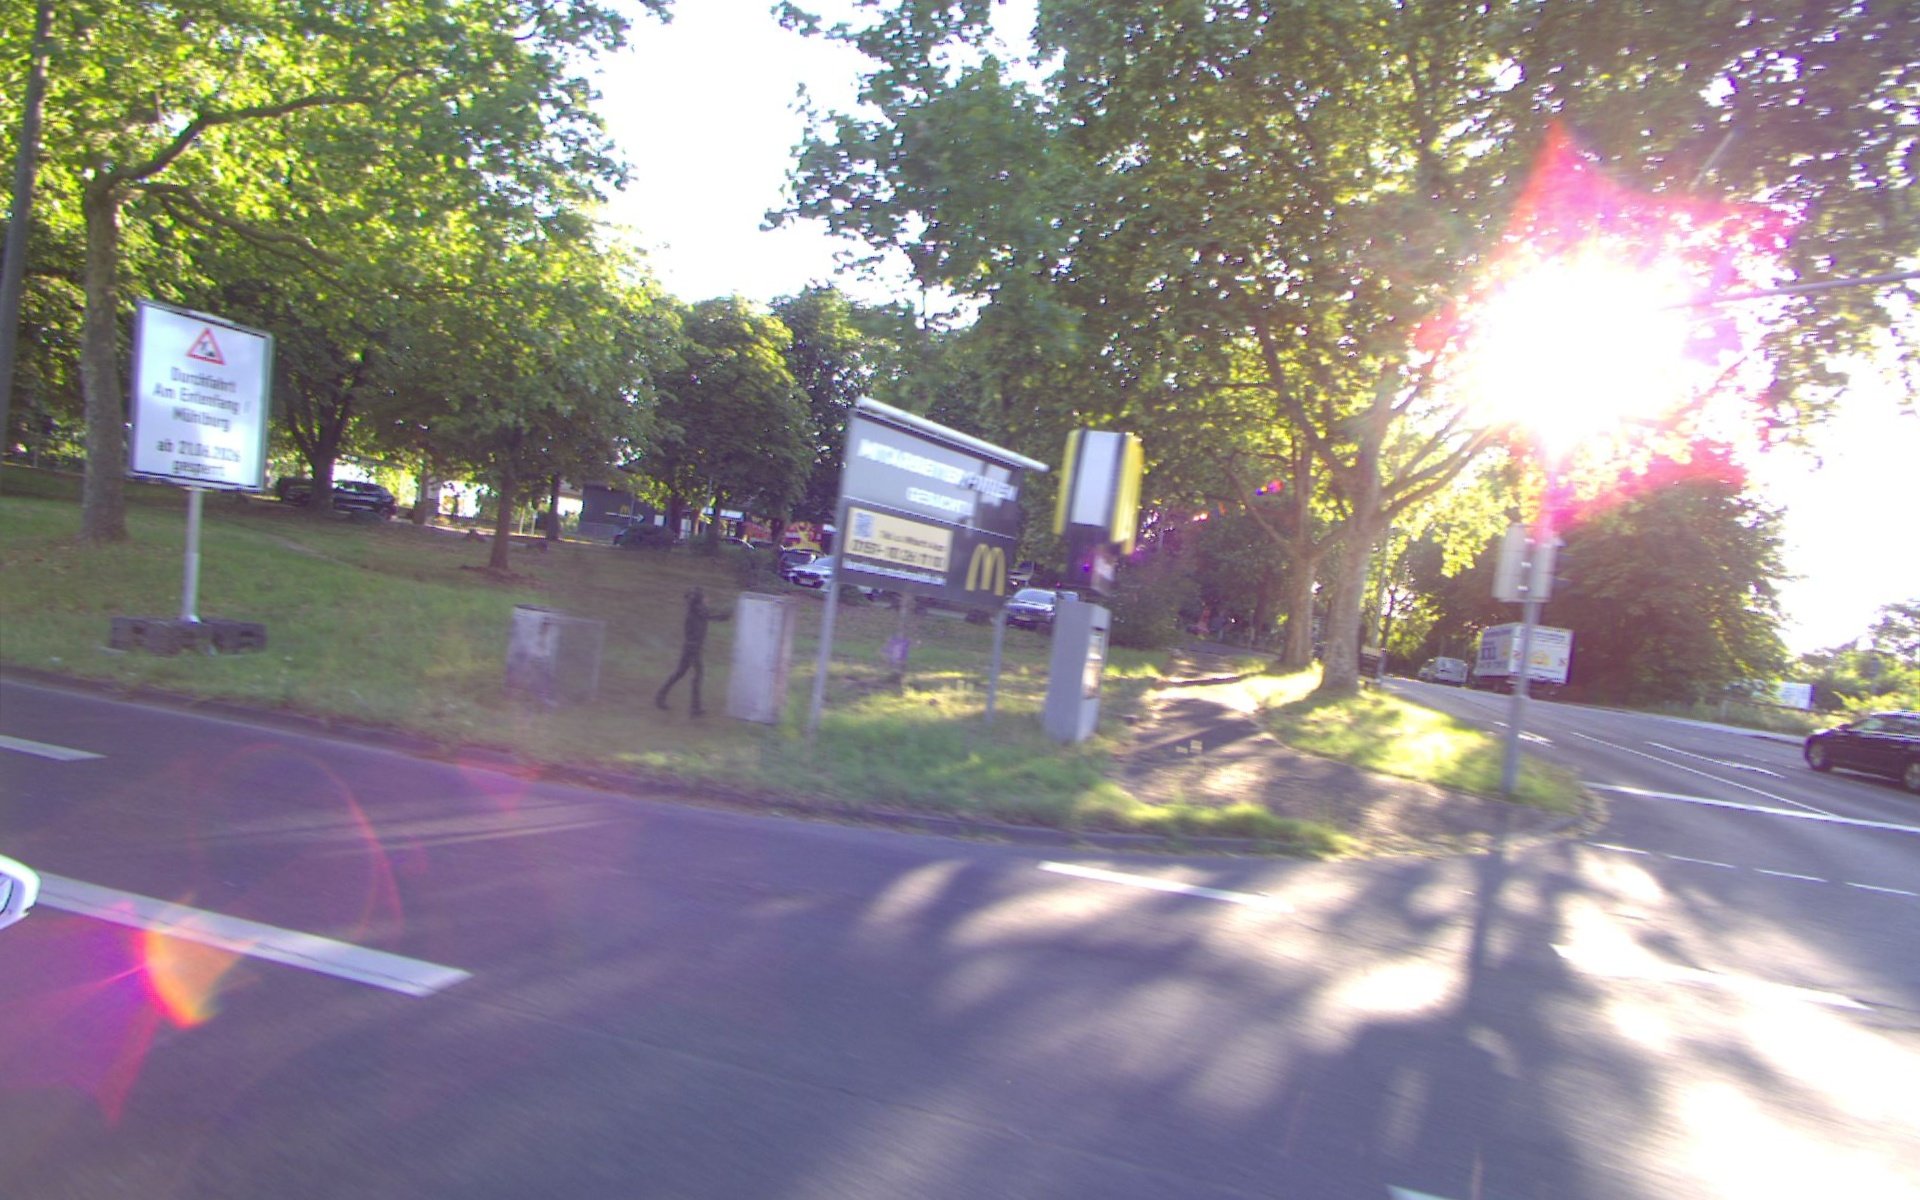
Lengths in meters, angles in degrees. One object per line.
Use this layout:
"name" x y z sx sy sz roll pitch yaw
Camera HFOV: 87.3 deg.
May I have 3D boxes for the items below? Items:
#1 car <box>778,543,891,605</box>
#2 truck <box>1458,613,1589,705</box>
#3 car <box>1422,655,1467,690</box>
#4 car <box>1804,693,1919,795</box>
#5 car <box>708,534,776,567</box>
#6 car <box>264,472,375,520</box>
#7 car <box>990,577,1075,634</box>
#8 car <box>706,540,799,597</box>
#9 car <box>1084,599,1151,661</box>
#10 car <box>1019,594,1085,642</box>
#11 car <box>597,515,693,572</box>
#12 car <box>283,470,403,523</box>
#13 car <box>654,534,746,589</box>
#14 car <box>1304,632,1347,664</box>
"car" -4.454 -0.884 36.653 1.963 1.728 4.898 8 1 19
"truck" 29.210 2.950 52.830 3.134 3.925 11.098 8 1 16
"car" 32.846 4.872 68.305 1.672 1.931 4.867 7 1 15
"car" 18.046 2.769 18.681 1.796 1.575 4.259 7 1 15
"car" -13.977 -3.148 64.616 3.928 1.571 1.806 7 1 -4
"car" -30.510 -4.931 48.033 1.776 1.571 3.993 7 0 28
"car" 2.565 0.226 34.486 2.005 1.594 4.403 7 0 14
"car" -7.738 -1.135 37.954 1.793 1.709 4.226 7 0 11
"car" 5.341 0.998 33.800 1.647 1.752 3.503 8 1 16
"car" 3.974 0.812 42.989 1.649 1.752 3.500 8 1 23
"car" -11.934 -2.097 38.410 1.793 1.709 4.226 7 0 6
"car" -25.932 -4.330 42.445 1.774 1.571 3.999 7 0 19
"car" -9.907 -1.417 38.657 1.793 1.709 4.226 7 0 8
"car" 21.192 2.769 58.497 1.816 1.571 4.000 8 1 15
